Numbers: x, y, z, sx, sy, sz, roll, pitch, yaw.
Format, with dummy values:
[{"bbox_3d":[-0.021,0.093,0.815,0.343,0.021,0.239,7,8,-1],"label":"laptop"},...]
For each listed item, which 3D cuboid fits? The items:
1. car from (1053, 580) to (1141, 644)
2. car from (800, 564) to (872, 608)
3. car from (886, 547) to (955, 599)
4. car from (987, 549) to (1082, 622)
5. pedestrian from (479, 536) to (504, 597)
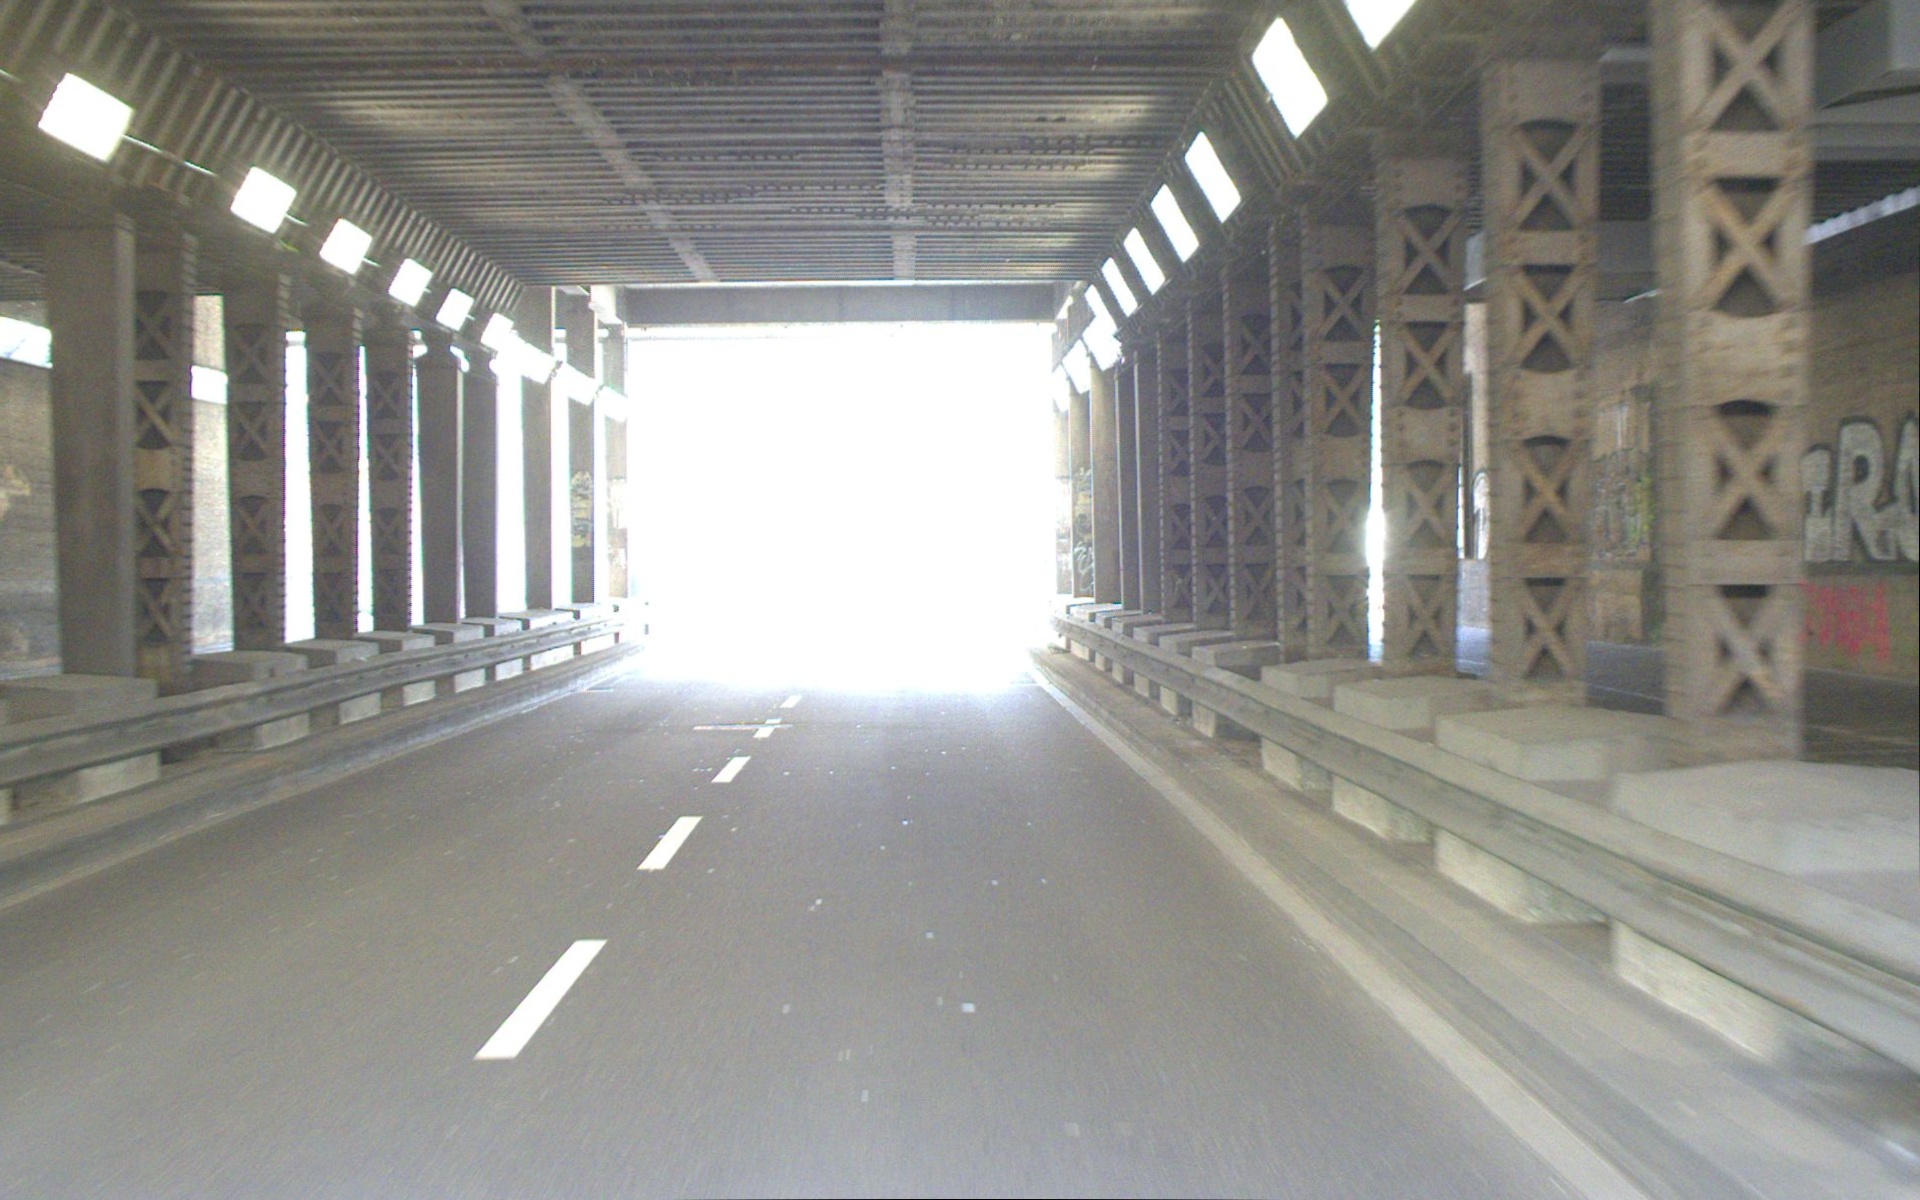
[{"bbox_3d":[3.307,0.277,83.692,1.731,1.495,4.001,0,1,-3],"label":"car"},{"bbox_3d":[-4.071,-0.490,113.523,1.752,1.400,4.414,0,1,7],"label":"car"},{"bbox_3d":[-1.065,-0.736,93.875,1.786,1.389,4.105,0,1,1],"label":"car"},{"bbox_3d":[1.588,-0.335,74.382,1.947,1.523,4.090,0,1,0],"label":"car"},{"bbox_3d":[-12.784,-0.916,93.793,0.513,1.634,0.625,0,0,-27],"label":"pedestrian"}]
